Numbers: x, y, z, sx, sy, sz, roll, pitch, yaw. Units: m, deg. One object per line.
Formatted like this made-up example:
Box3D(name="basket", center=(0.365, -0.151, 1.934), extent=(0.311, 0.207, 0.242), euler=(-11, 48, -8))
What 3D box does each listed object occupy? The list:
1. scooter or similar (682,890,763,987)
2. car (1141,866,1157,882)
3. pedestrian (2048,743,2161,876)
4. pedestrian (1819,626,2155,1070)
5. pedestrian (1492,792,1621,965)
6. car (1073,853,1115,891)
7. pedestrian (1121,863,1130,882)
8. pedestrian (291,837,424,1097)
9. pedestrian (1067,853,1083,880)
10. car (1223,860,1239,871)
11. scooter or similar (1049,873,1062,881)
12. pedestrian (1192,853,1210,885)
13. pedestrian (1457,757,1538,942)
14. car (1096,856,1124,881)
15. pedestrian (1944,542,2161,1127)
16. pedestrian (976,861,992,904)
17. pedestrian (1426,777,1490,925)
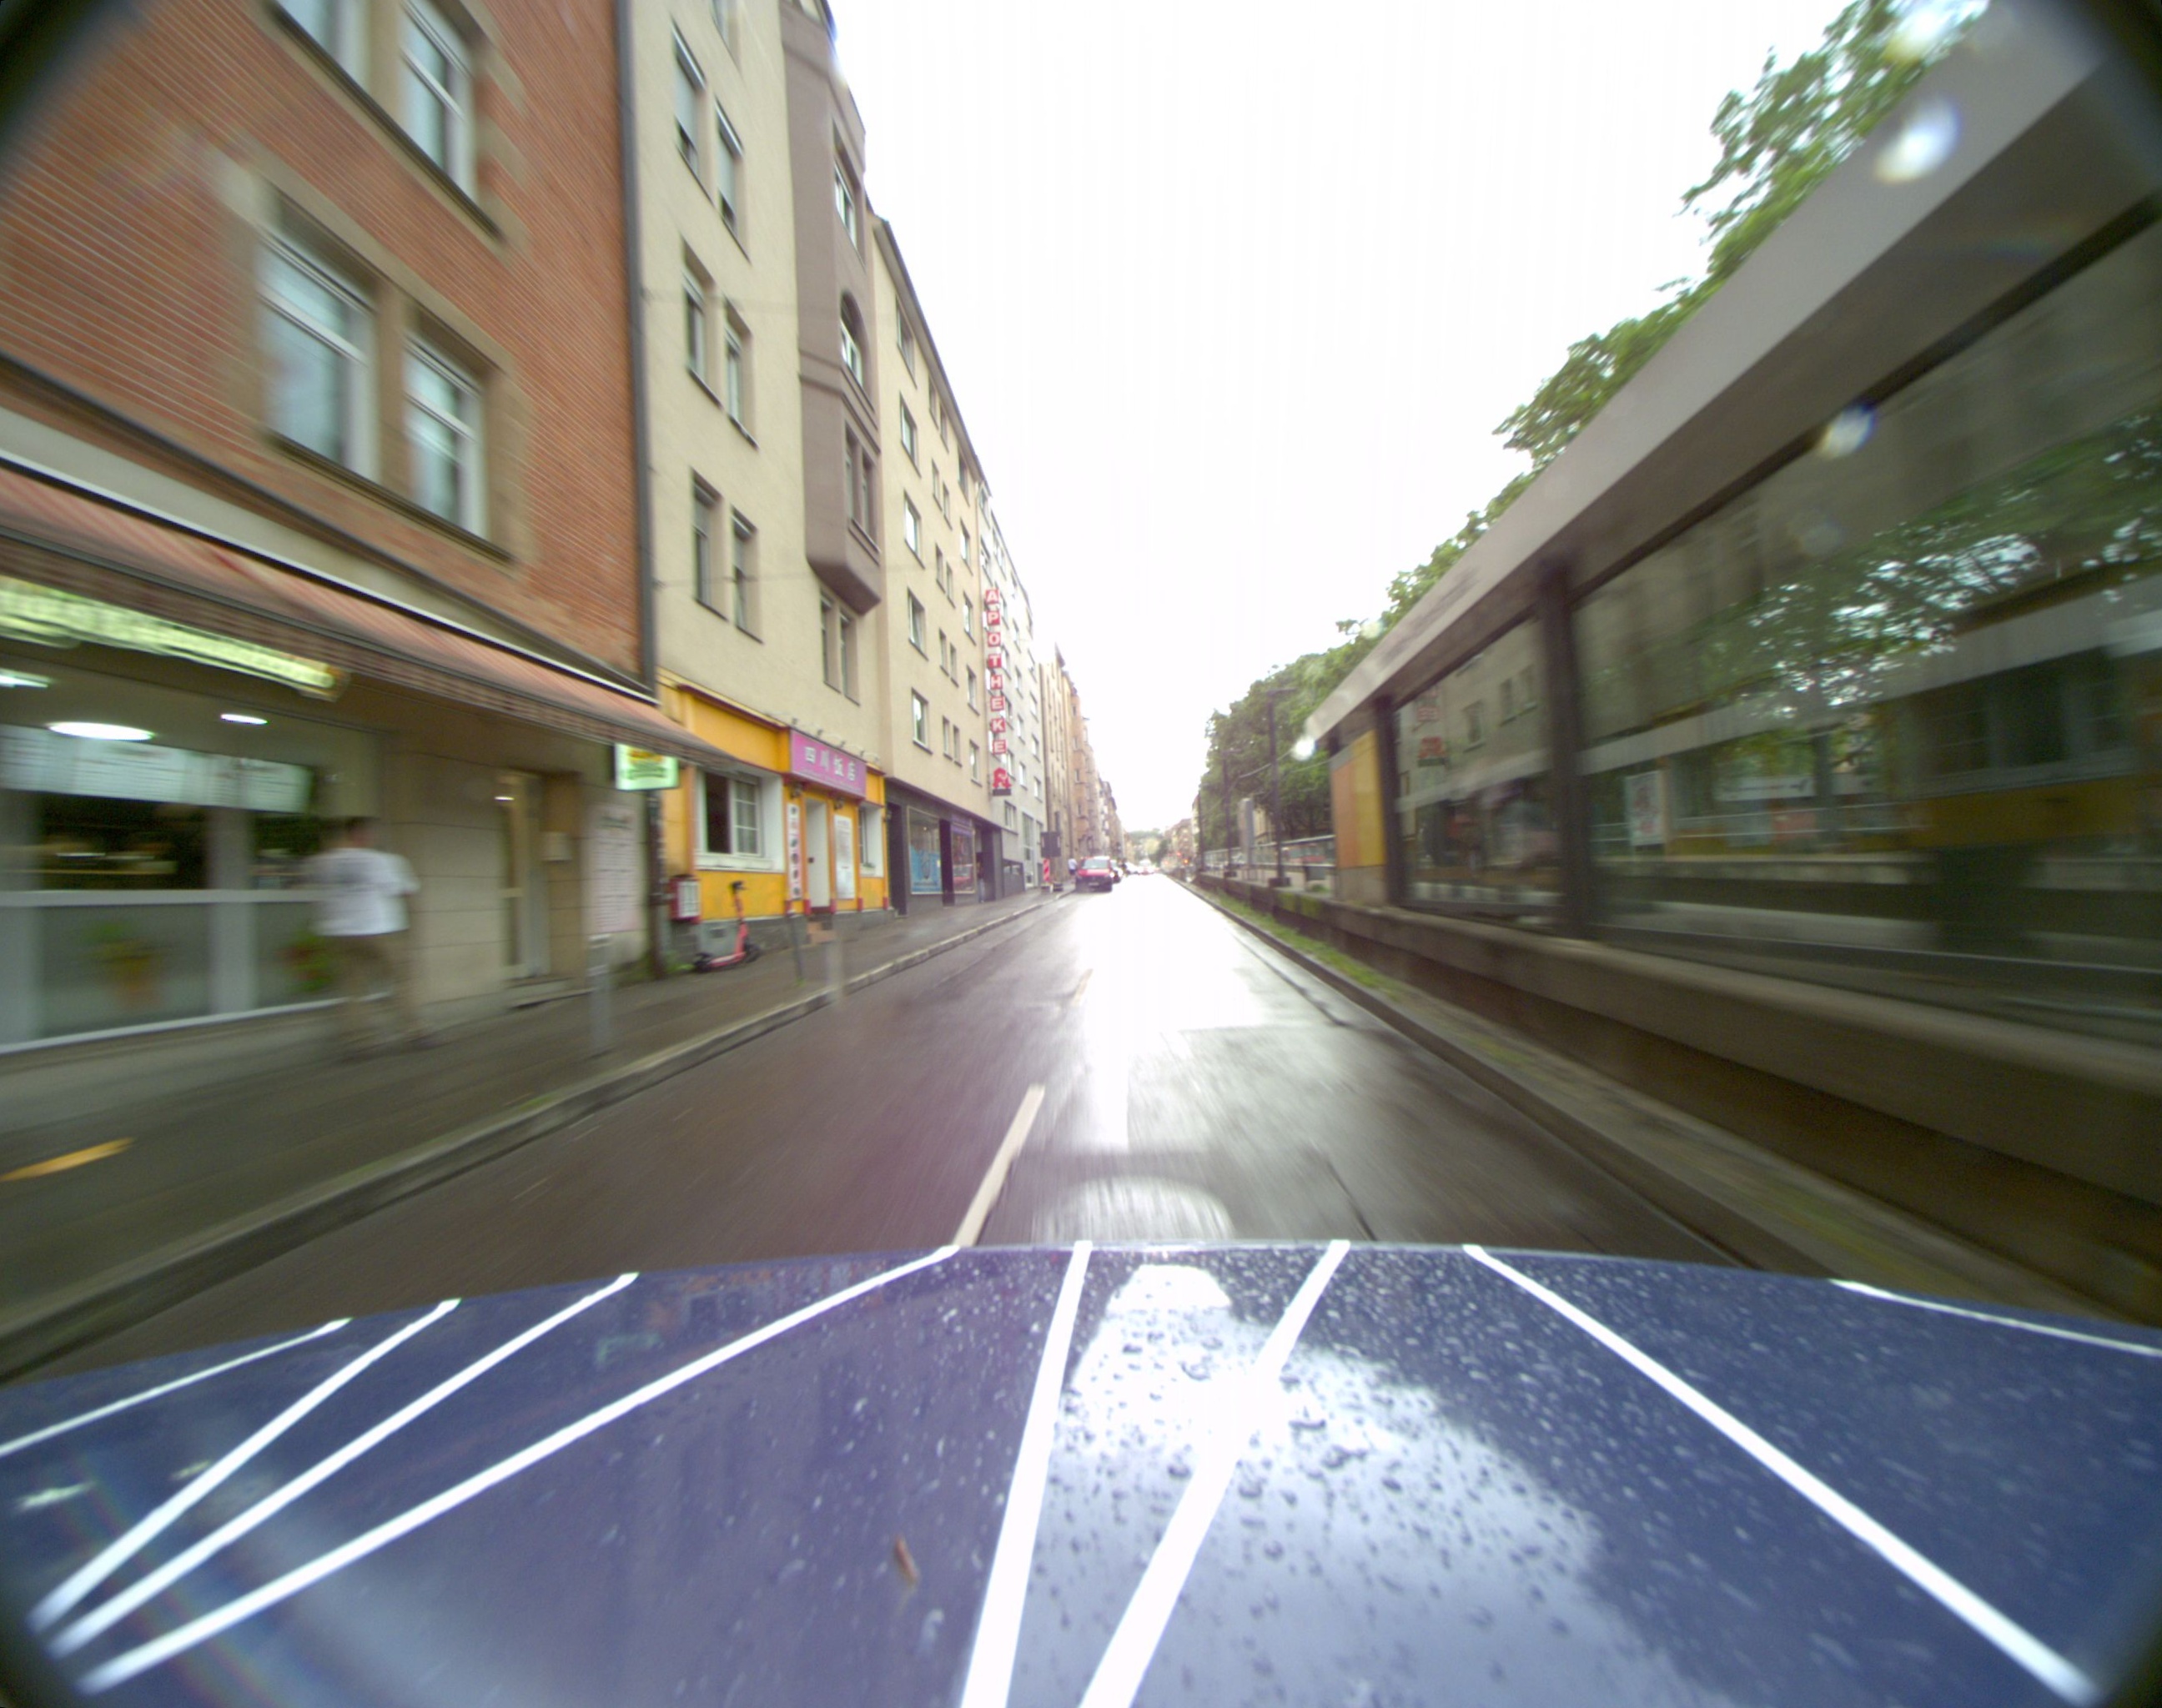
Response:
Box3D(name="scooter or similar", center=(-4.999, 1.147, 10.660), extent=(0.258, 1.214, 1.196), euler=(-4, 0, 14))
Box3D(name="car", center=(7.251, 2.151, 81.362), extent=(1.620, 1.592, 4.069), euler=(-3, -2, 4))
Box3D(name="pedestrian", center=(13.260, -0.553, 9.810), extent=(0.688, 1.631, 0.564), euler=(-4, -1, 3))
Box3D(name="pedestrian", center=(3.509, -0.009, 2.997), extent=(0.615, 1.572, 0.507), euler=(-3, 0, 8))
Box3D(name="pedestrian", center=(3.571, 0.183, 5.748), extent=(0.615, 1.219, 0.507), euler=(-3, 0, 8))
Box3D(name="car", center=(0.792, 0.929, 41.050), extent=(1.979, 1.827, 5.246), euler=(-3, 0, 3))
Box3D(name="pedestrian", center=(4.182, 1.741, 71.163), extent=(0.652, 1.694, 0.661), euler=(-4, 0, 7))
Box3D(name="pedestrian", center=(-5.426, 0.789, 5.709), extent=(0.562, 1.820, 0.580), euler=(1, 1, 32))
Box3D(name="pedestrian", center=(-0.393, 0.855, 51.376), extent=(0.853, 1.747, 0.838), euler=(-4, 0, 5))
Box3D(name="car", center=(22.543, 1.769, 114.412), extent=(1.891, 1.468, 3.809), euler=(-4, -1, 6))
Box3D(name="scooter or similar", center=(-1.730, 1.576, 51.397), extent=(0.858, 0.503, 0.258), euler=(-3, 1, 35))
Box3D(name="pedestrian", center=(7.080, 0.894, 44.867), extent=(0.861, 1.788, 0.787), euler=(-4, 0, 4))
Box3D(name="pedestrian", center=(3.739, -0.032, 6.848), extent=(0.506, 1.580, 0.528), euler=(-3, 0, 22))
Box3D(name="car", center=(2.228, 1.079, 57.189), extent=(1.769, 1.698, 4.501), euler=(-3, -1, 6))
Box3D(name="pedestrian", center=(3.428, -0.065, 2.412), extent=(0.615, 1.678, 0.587), euler=(-3, 0, 8))
Box3D(name="pedestrian", center=(-3.825, 1.126, 30.028), extent=(0.482, 1.635, 0.331), euler=(-4, 0, -19))
Box3D(name="pedestrian", center=(4.208, -0.032, 8.489), extent=(0.410, 1.595, 0.450), euler=(-3, 0, -1))
